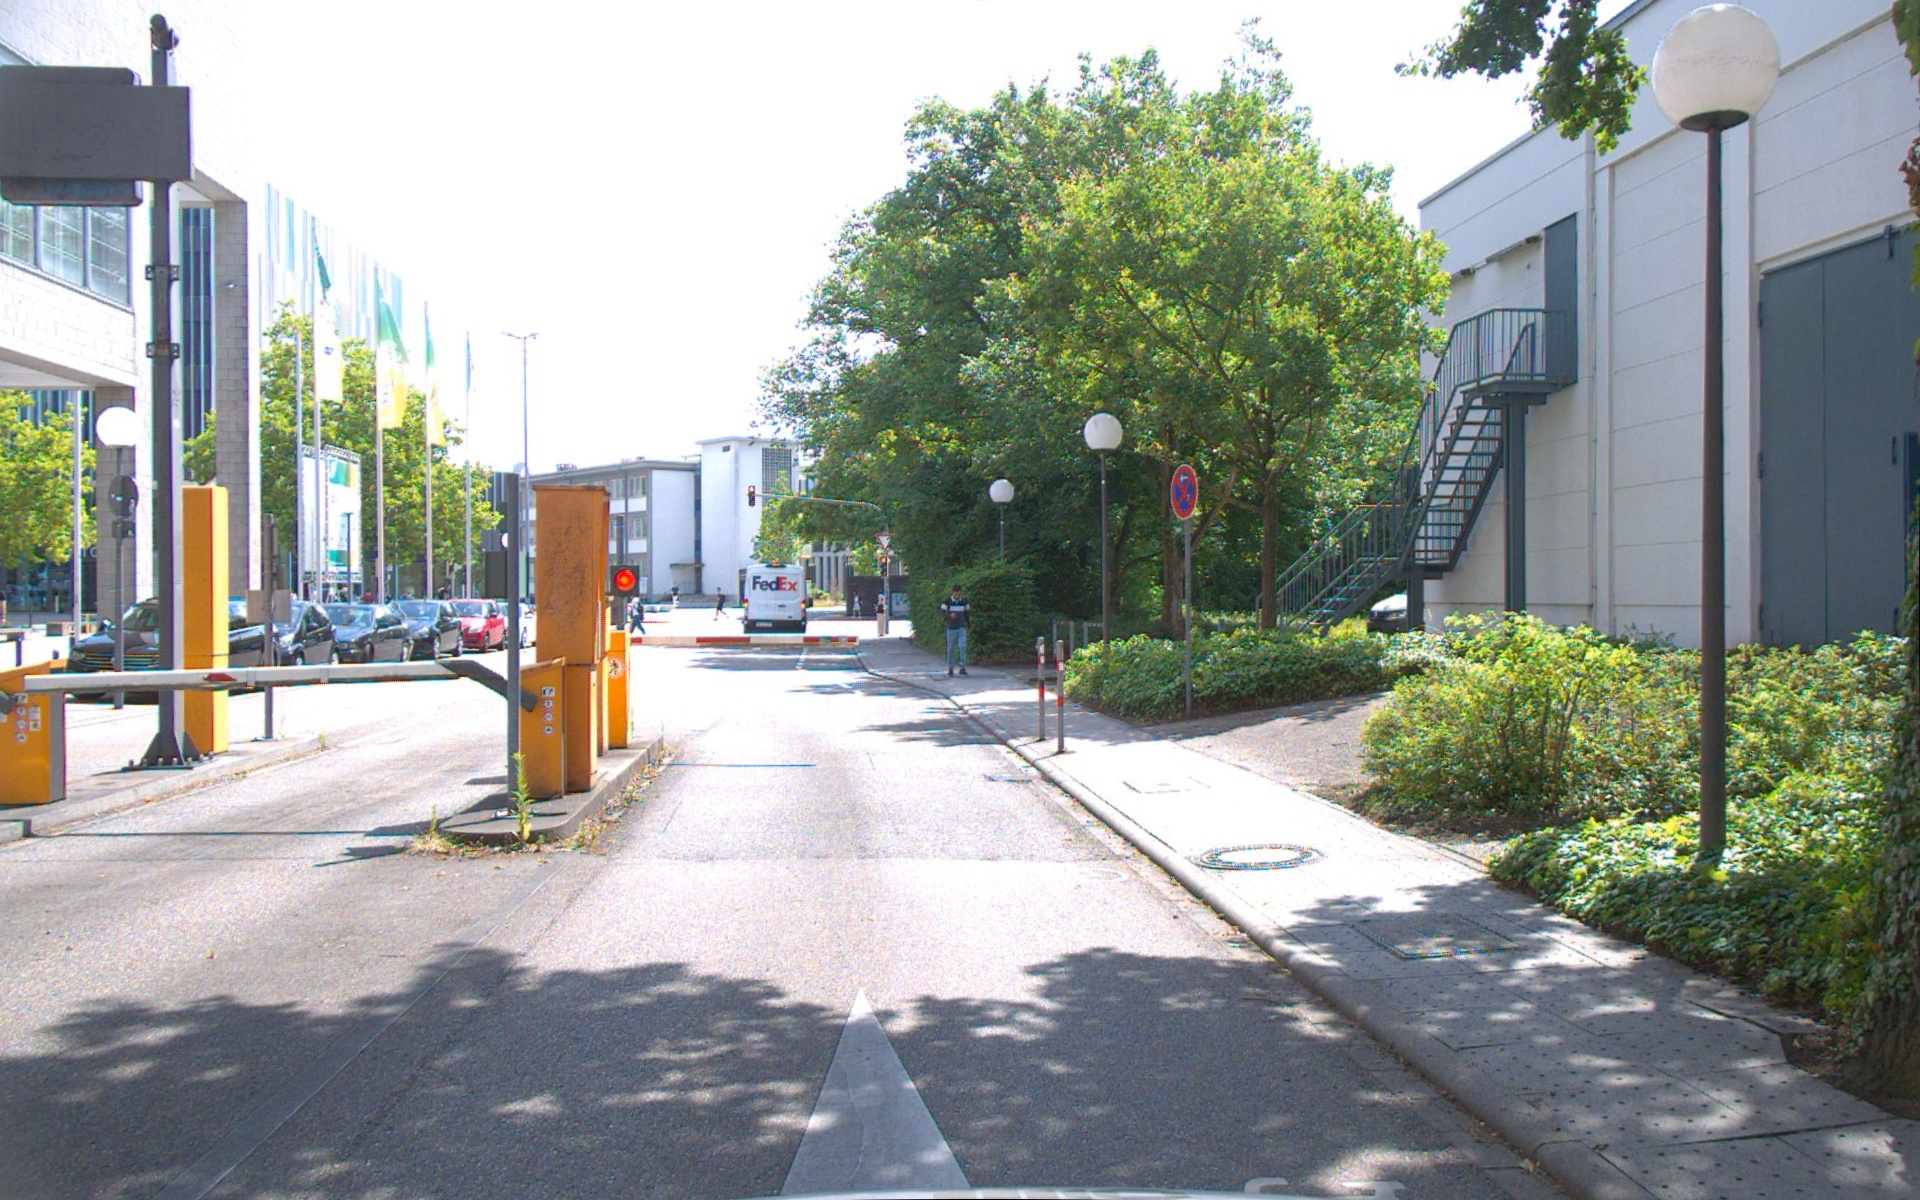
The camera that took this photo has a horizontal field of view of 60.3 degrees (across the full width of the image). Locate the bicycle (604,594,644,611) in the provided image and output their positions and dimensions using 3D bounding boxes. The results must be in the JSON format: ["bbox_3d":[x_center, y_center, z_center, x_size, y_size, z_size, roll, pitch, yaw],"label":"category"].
[{"bbox_3d":[-26.337,0.197,129.710,2.941,1.387,1.100,0,0,-43],"label":"bicycle"}]

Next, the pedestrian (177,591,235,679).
[{"bbox_3d":[-18.011,0.819,39.522,0.966,2.049,1.162,0,0,-9],"label":"pedestrian"}]

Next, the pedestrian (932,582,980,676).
[{"bbox_3d":[-0.081,0.523,30.646,0.725,1.704,1.254,0,0,-8],"label":"pedestrian"}]

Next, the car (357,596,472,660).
[{"bbox_3d":[-13.774,0.664,41.990,1.713,1.493,4.193,2,0,-3],"label":"car"}]

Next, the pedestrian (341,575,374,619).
[{"bbox_3d":[-25.748,-0.133,70.689,0.843,1.850,1.096,-1,0,18],"label":"pedestrian"}]

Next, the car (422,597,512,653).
[{"bbox_3d":[-14.139,0.695,47.616,1.644,1.493,3.907,2,0,-4],"label":"car"}]

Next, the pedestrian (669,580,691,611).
[{"bbox_3d":[-18.948,-0.304,111.961,1.116,2.049,1.157,0,0,9],"label":"pedestrian"}]

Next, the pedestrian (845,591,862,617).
[{"bbox_3d":[-6.247,0.239,97.040,0.814,1.550,0.809,0,0,-24],"label":"pedestrian"}]

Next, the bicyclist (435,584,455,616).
[{"bbox_3d":[-29.818,0.002,95.773,0.773,1.849,1.000,-1,0,5],"label":"bicyclist"}]

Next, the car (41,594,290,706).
[{"bbox_3d":[-11.920,0.691,25.195,1.823,1.493,4.714,1,0,-5],"label":"car"}]

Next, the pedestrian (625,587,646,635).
[{"bbox_3d":[-12.868,0.432,65.558,0.705,1.892,0.769,0,0,-3],"label":"pedestrian"}]

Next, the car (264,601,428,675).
[{"bbox_3d":[-12.913,0.752,35.106,1.822,1.402,5.013,2,0,-3],"label":"car"}]

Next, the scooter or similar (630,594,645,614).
[{"bbox_3d":[-19.086,0.232,97.839,0.705,1.199,2.714,0,0,-15],"label":"scooter or similar"}]

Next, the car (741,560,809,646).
[{"bbox_3d":[-5.973,0.057,53.818,2.054,2.611,5.596,-1,1,-6],"label":"car"}]

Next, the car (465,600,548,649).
[{"bbox_3d":[-14.291,0.742,52.336,1.644,1.420,4.658,2,0,-4],"label":"car"}]

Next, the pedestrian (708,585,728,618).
[{"bbox_3d":[-14.082,0.081,96.263,1.060,1.903,0.831,-1,0,-7],"label":"pedestrian"}]

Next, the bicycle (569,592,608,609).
[{"bbox_3d":[-30.102,0.037,133.921,2.941,1.387,1.100,0,0,-43],"label":"bicycle"}]

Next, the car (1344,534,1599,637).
[{"bbox_3d":[10.770,-0.304,35.028,4.730,2.049,2.060,-1,0,-5],"label":"car"}]

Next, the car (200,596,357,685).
[{"bbox_3d":[-12.508,0.706,30.563,1.607,1.493,3.703,1,0,-5],"label":"car"}]

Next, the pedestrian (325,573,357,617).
[{"bbox_3d":[-26.820,-0.229,71.689,0.835,1.909,1.007,-1,0,18],"label":"pedestrian"}]

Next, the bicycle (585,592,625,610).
[{"bbox_3d":[-28.285,0.082,131.903,2.941,1.387,1.256,0,0,-43],"label":"bicycle"}]

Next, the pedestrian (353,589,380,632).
[{"bbox_3d":[-22.609,0.405,63.004,0.755,1.625,0.798,-1,0,-3],"label":"pedestrian"}]

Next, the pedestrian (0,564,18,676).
[{"bbox_3d":[-21.473,0.448,36.656,0.743,2.464,0.737,0,0,29],"label":"pedestrian"}]

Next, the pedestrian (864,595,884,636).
[{"bbox_3d":[-3.387,0.614,65.166,0.717,1.603,0.774,1,0,-10],"label":"pedestrian"}]

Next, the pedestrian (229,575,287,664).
[{"bbox_3d":[-16.457,0.455,38.810,0.966,2.049,1.162,0,0,-9],"label":"pedestrian"}]

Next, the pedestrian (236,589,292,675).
[{"bbox_3d":[-16.841,0.766,40.038,0.966,2.049,1.162,0,0,-9],"label":"pedestrian"}]
